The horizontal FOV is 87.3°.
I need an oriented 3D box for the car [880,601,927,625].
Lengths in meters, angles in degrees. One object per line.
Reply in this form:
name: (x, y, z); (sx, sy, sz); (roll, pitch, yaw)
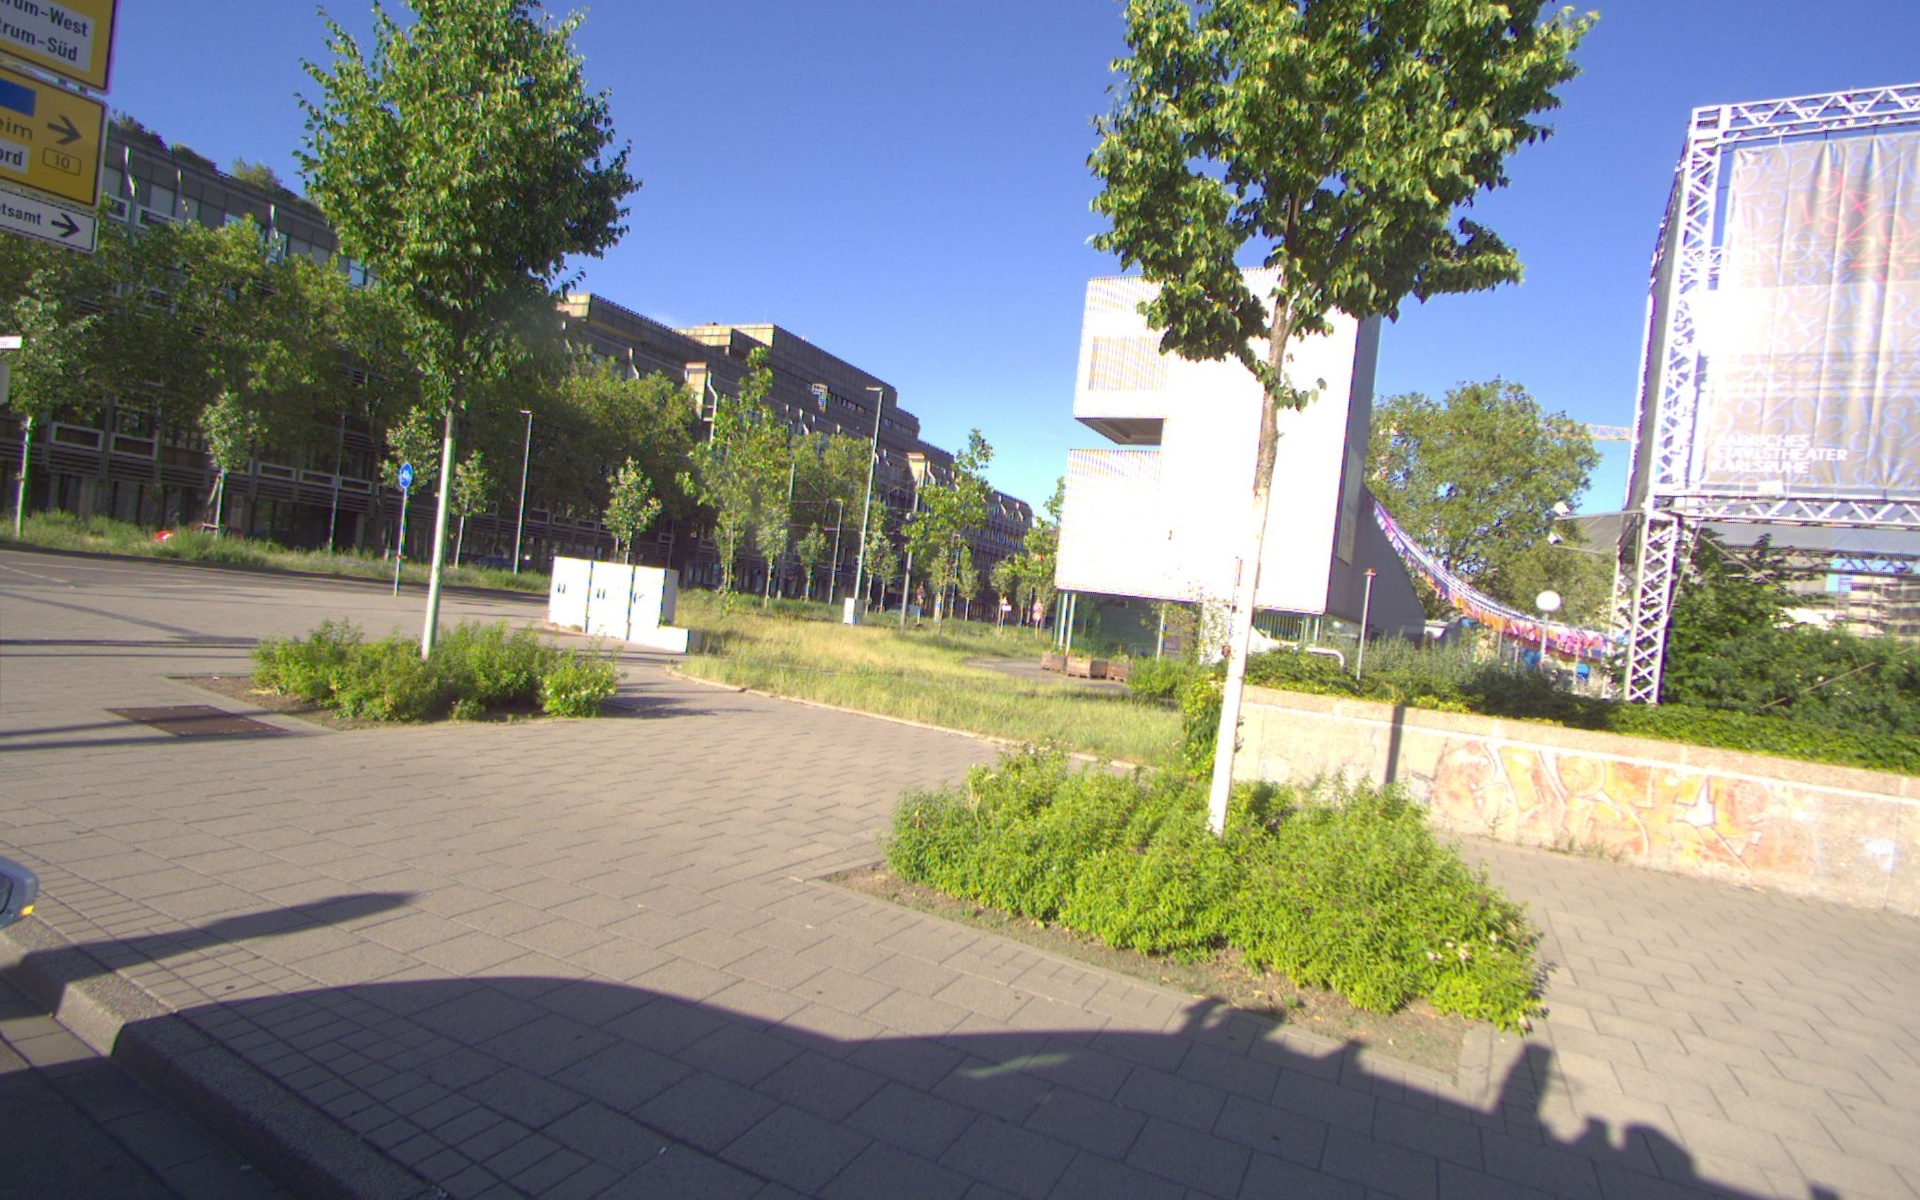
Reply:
car: (-5.758, 1.366, 102.736); (2.226, 2.038, 5.705); (4, -2, 25)

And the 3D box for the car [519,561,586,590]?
car: (-29.002, -1.722, 71.672); (1.966, 1.539, 3.995); (7, 0, 29)

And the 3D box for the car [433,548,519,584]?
car: (-31.782, -2.223, 66.165); (1.964, 1.700, 4.868); (8, -1, 23)

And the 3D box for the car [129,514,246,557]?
car: (-35.979, -2.999, 46.967); (1.814, 1.504, 3.876); (3, -2, 26)
